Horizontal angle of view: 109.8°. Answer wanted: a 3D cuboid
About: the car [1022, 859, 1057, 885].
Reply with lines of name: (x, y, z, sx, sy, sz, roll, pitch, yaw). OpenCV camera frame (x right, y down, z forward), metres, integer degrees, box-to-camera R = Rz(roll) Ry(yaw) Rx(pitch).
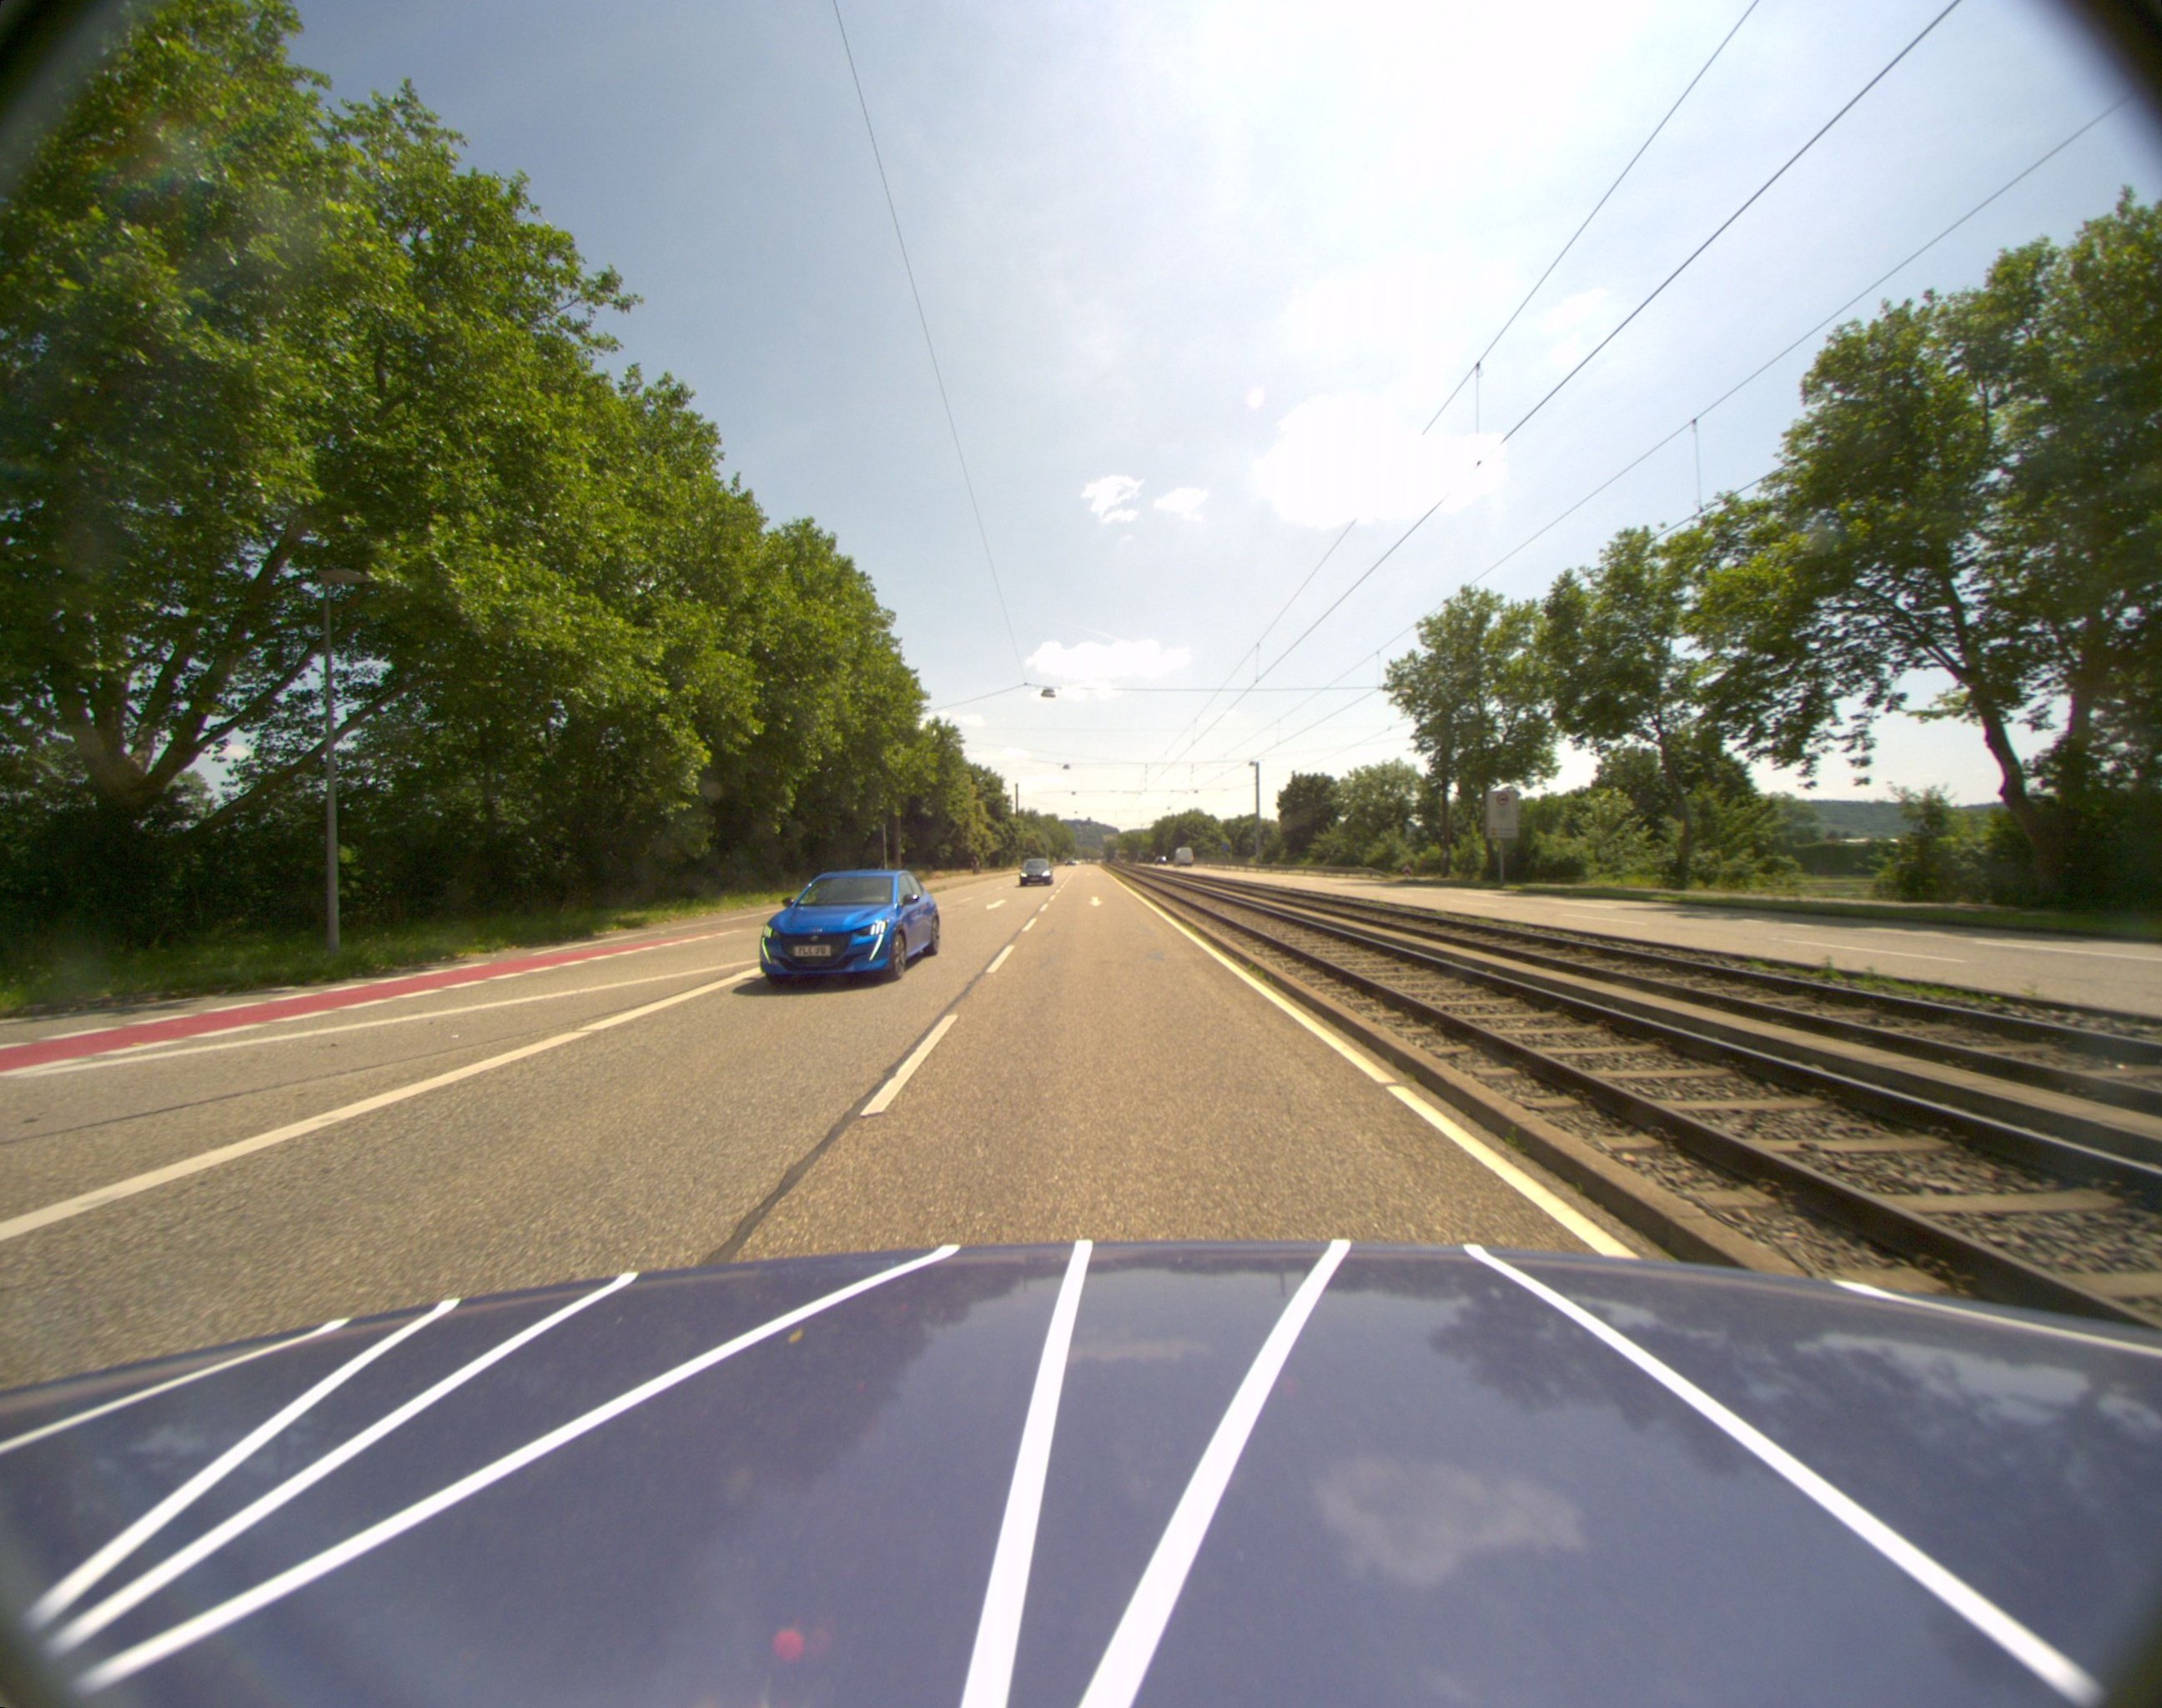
car: (-2.419, 1.038, 44.864, 1.769, 1.359, 3.743, -2, 0, 0)

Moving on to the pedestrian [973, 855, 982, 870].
pedestrian: (-9.329, 0.767, 68.729, 0.629, 1.366, 1.050, 0, 1, 1)

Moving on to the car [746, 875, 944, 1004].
car: (-3.186, 1.081, 11.049, 1.660, 1.397, 3.743, -2, 0, 0)

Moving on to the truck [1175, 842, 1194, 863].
truck: (14.971, -0.239, 110.121, 2.059, 2.922, 6.319, 0, 0, 1)

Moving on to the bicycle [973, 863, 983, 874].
bicycle: (-9.314, 1.302, 68.759, 0.561, 1.018, 1.848, 0, 1, 1)

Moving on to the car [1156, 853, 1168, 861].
car: (14.593, 0.511, 137.441, 1.822, 1.505, 4.427, 0, 0, 1)

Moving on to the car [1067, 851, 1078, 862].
car: (-1.577, 0.471, 145.958, 1.999, 2.002, 4.000, -1, 0, 0)
